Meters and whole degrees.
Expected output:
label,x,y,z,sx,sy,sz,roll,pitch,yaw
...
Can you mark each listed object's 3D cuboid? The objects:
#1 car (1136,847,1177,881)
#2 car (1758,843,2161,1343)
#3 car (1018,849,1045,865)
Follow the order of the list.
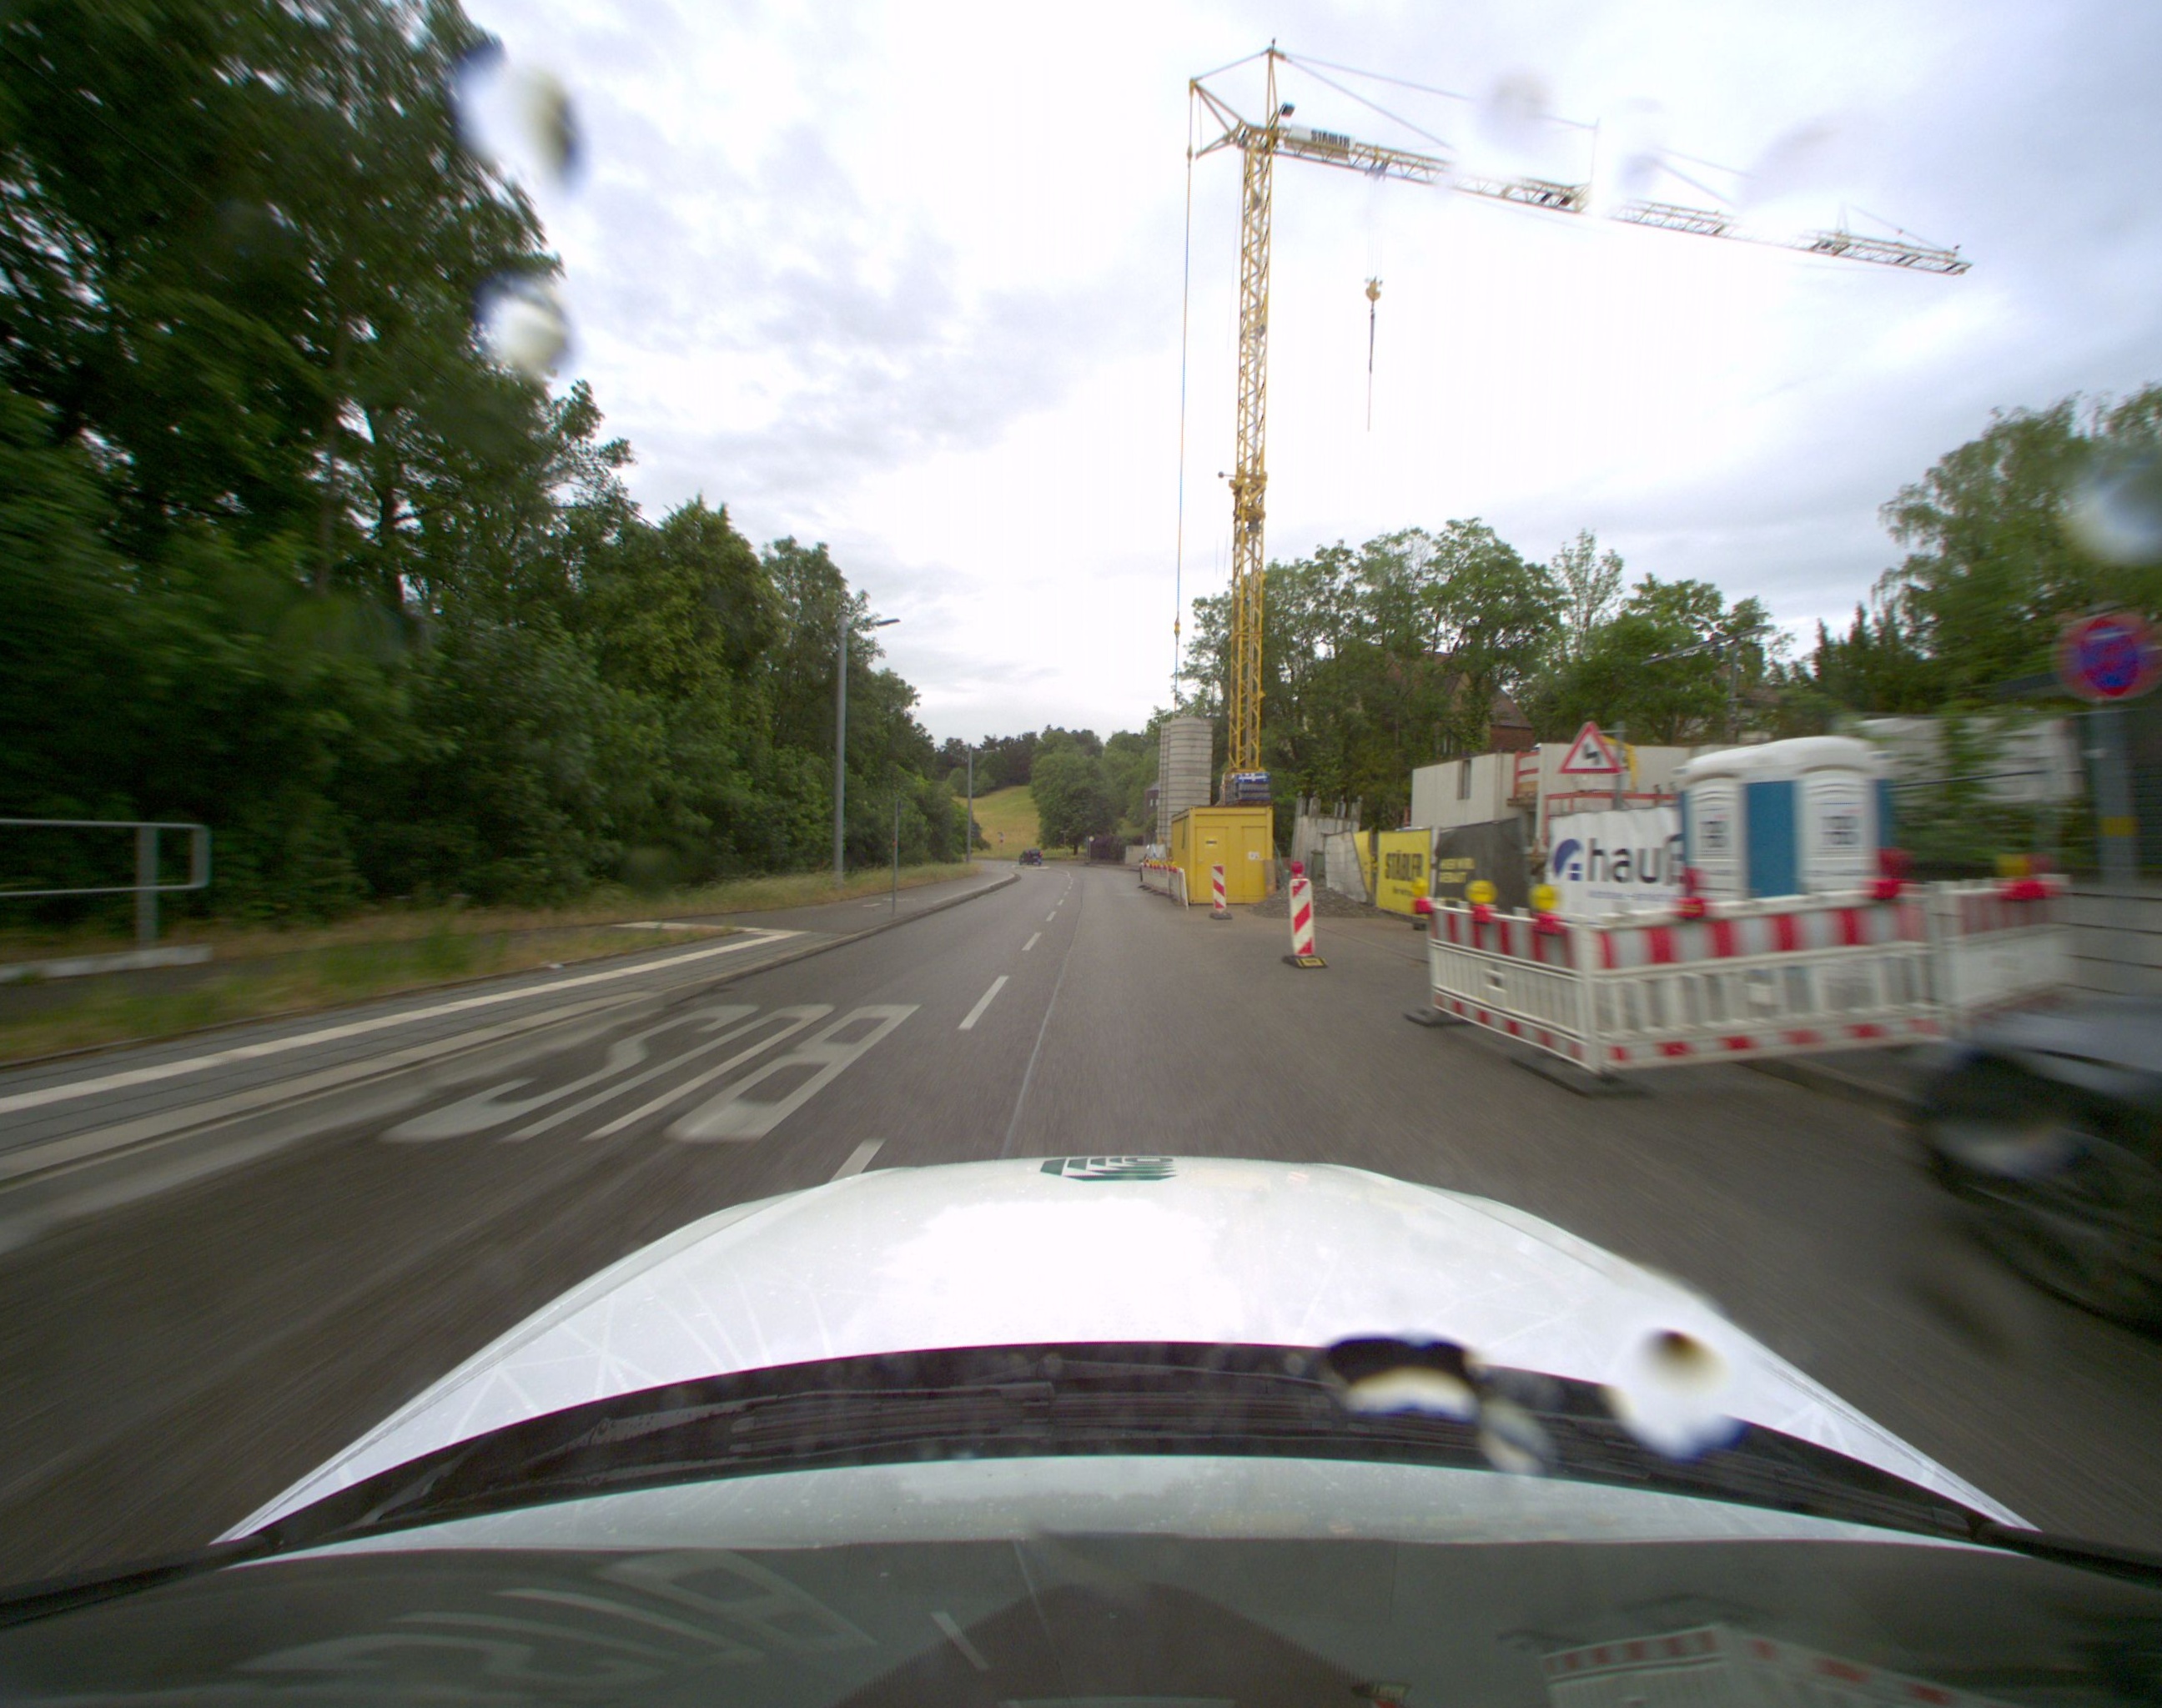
label,x,y,z,sx,sy,sz,roll,pitch,yaw
car,4.051,0.492,44.315,1.740,1.706,4.500,-2,0,-1
car,4.027,0.684,1.310,1.925,1.422,4.837,0,0,1
car,-5.739,0.299,93.583,1.939,1.751,3.972,0,0,-21
